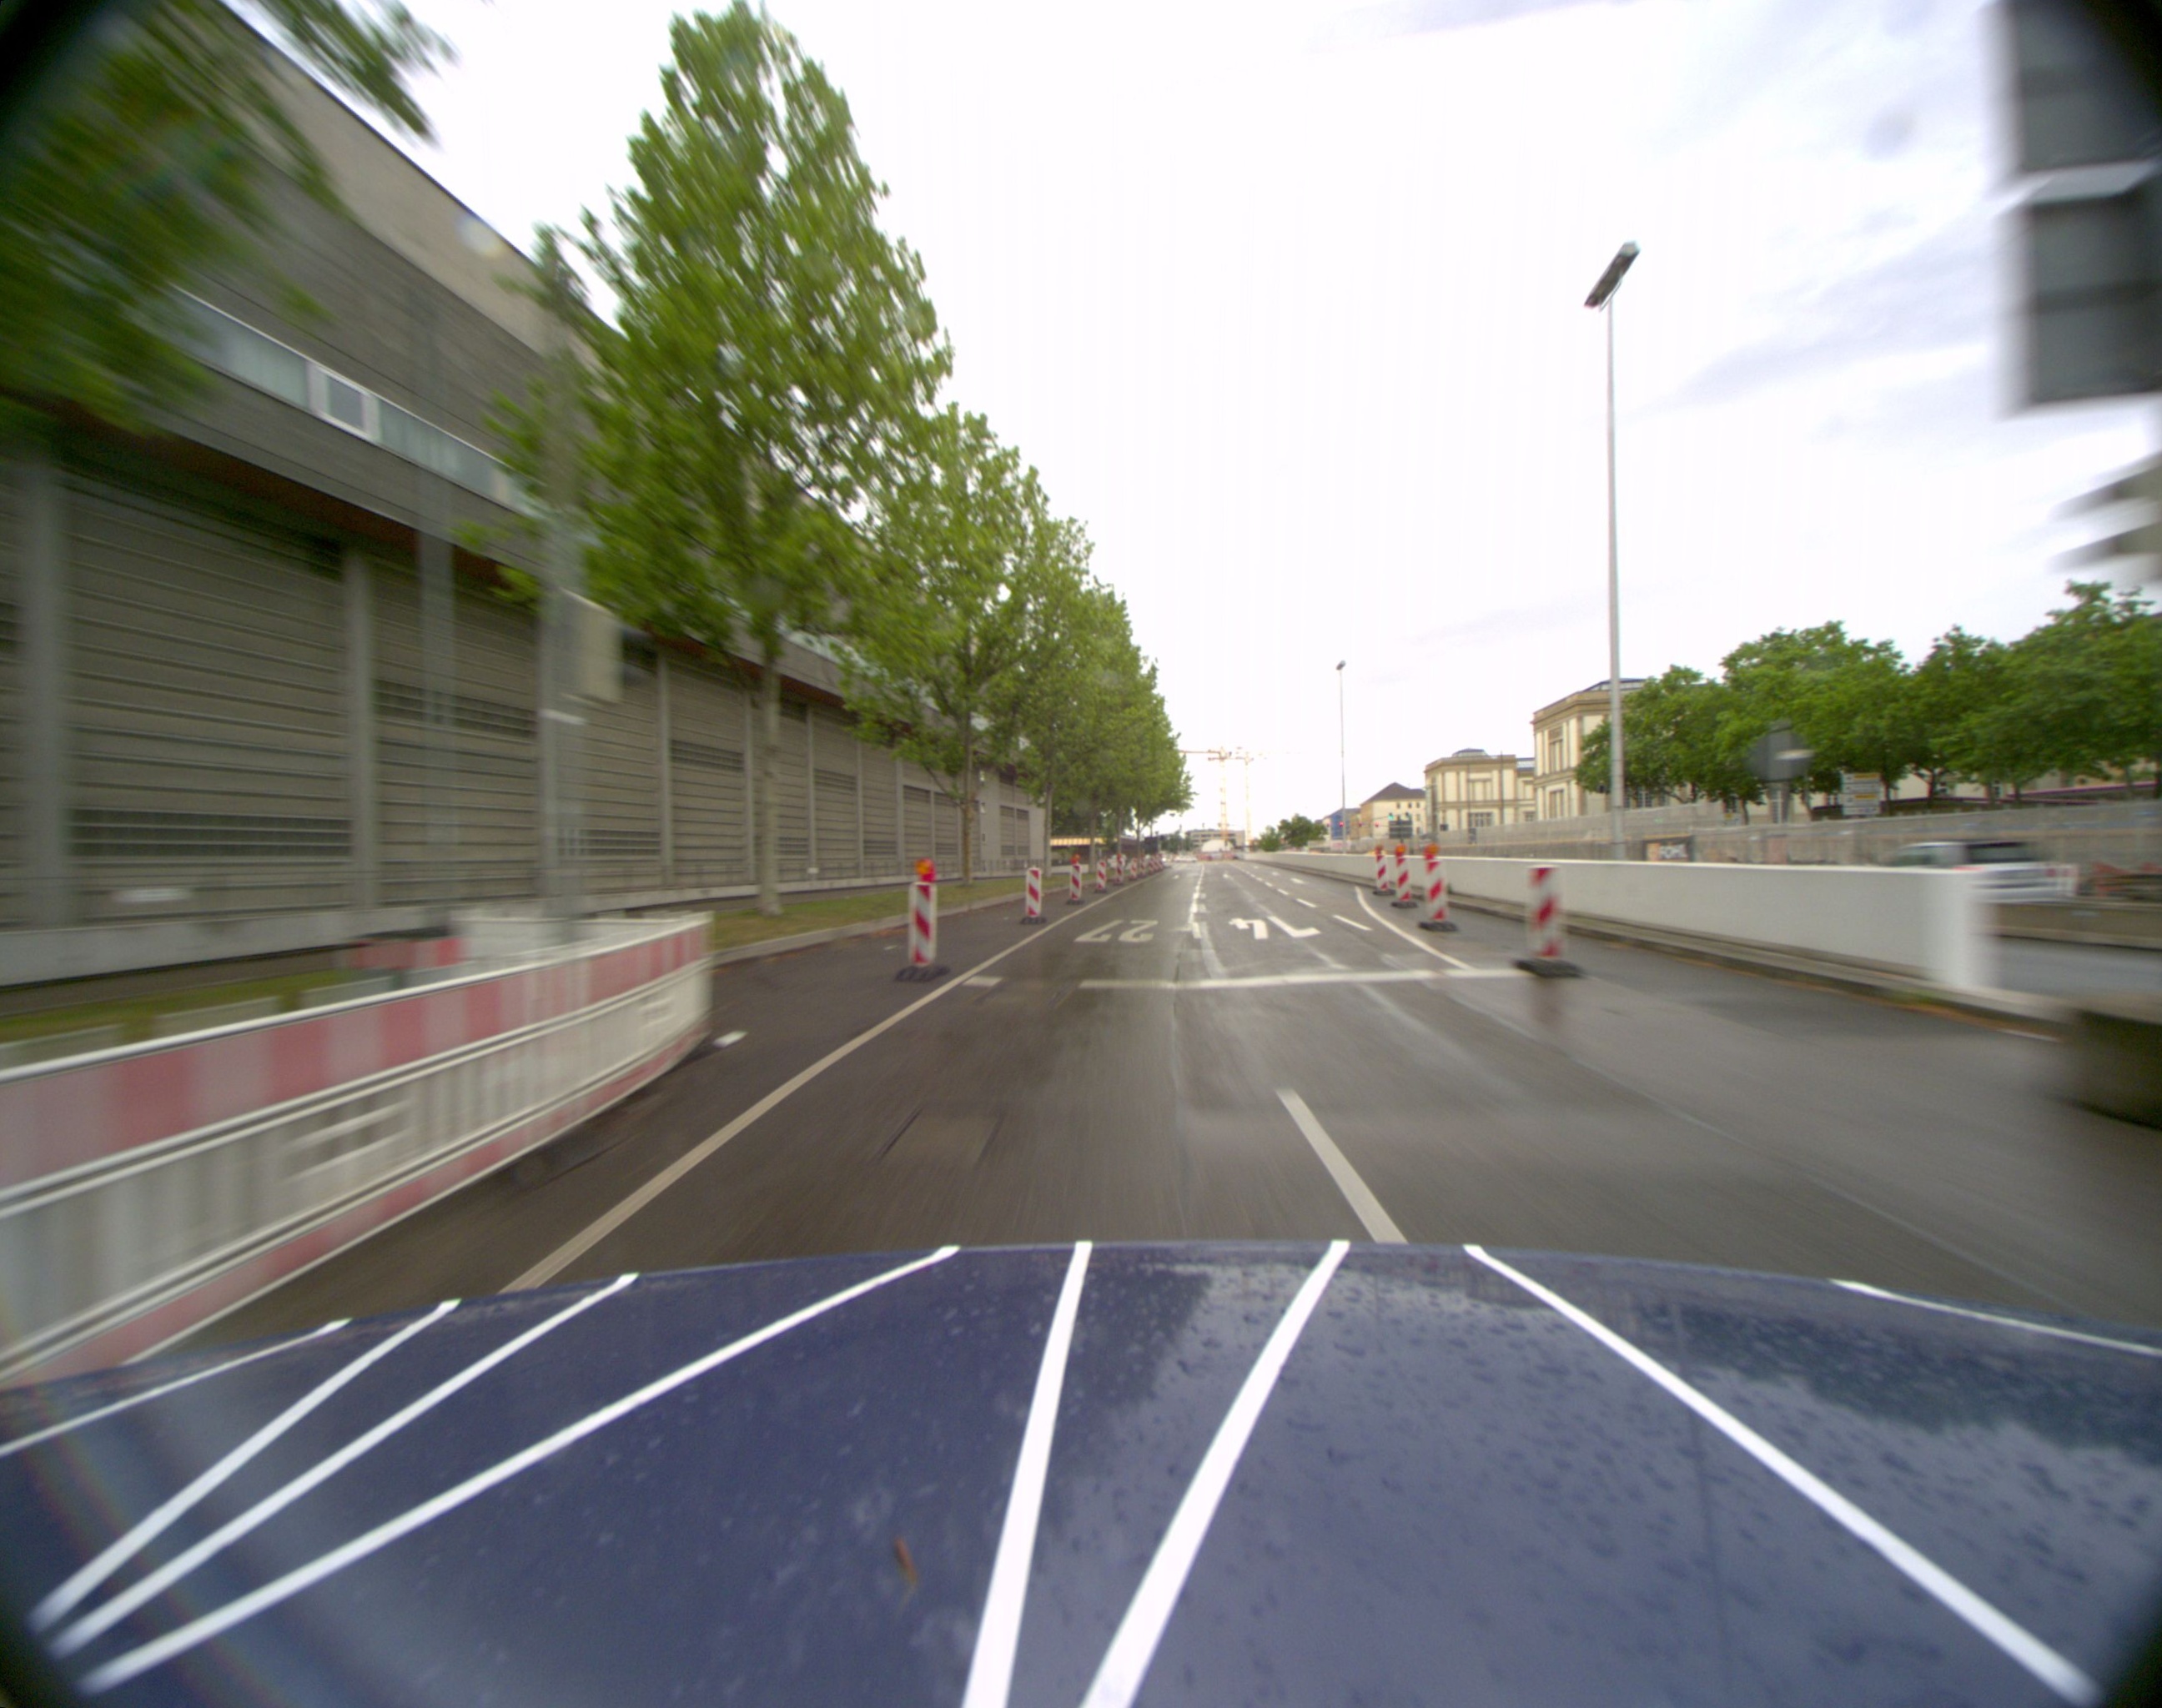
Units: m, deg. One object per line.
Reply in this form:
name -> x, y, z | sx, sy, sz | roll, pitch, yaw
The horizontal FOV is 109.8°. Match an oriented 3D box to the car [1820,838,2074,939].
car -> 17.687, 0.615, 15.785 | 1.703, 1.857, 3.359 | -1, 1, 8

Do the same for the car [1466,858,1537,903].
car -> 20.897, 1.253, 37.927 | 1.901, 2.002, 4.002 | -1, 1, 9
